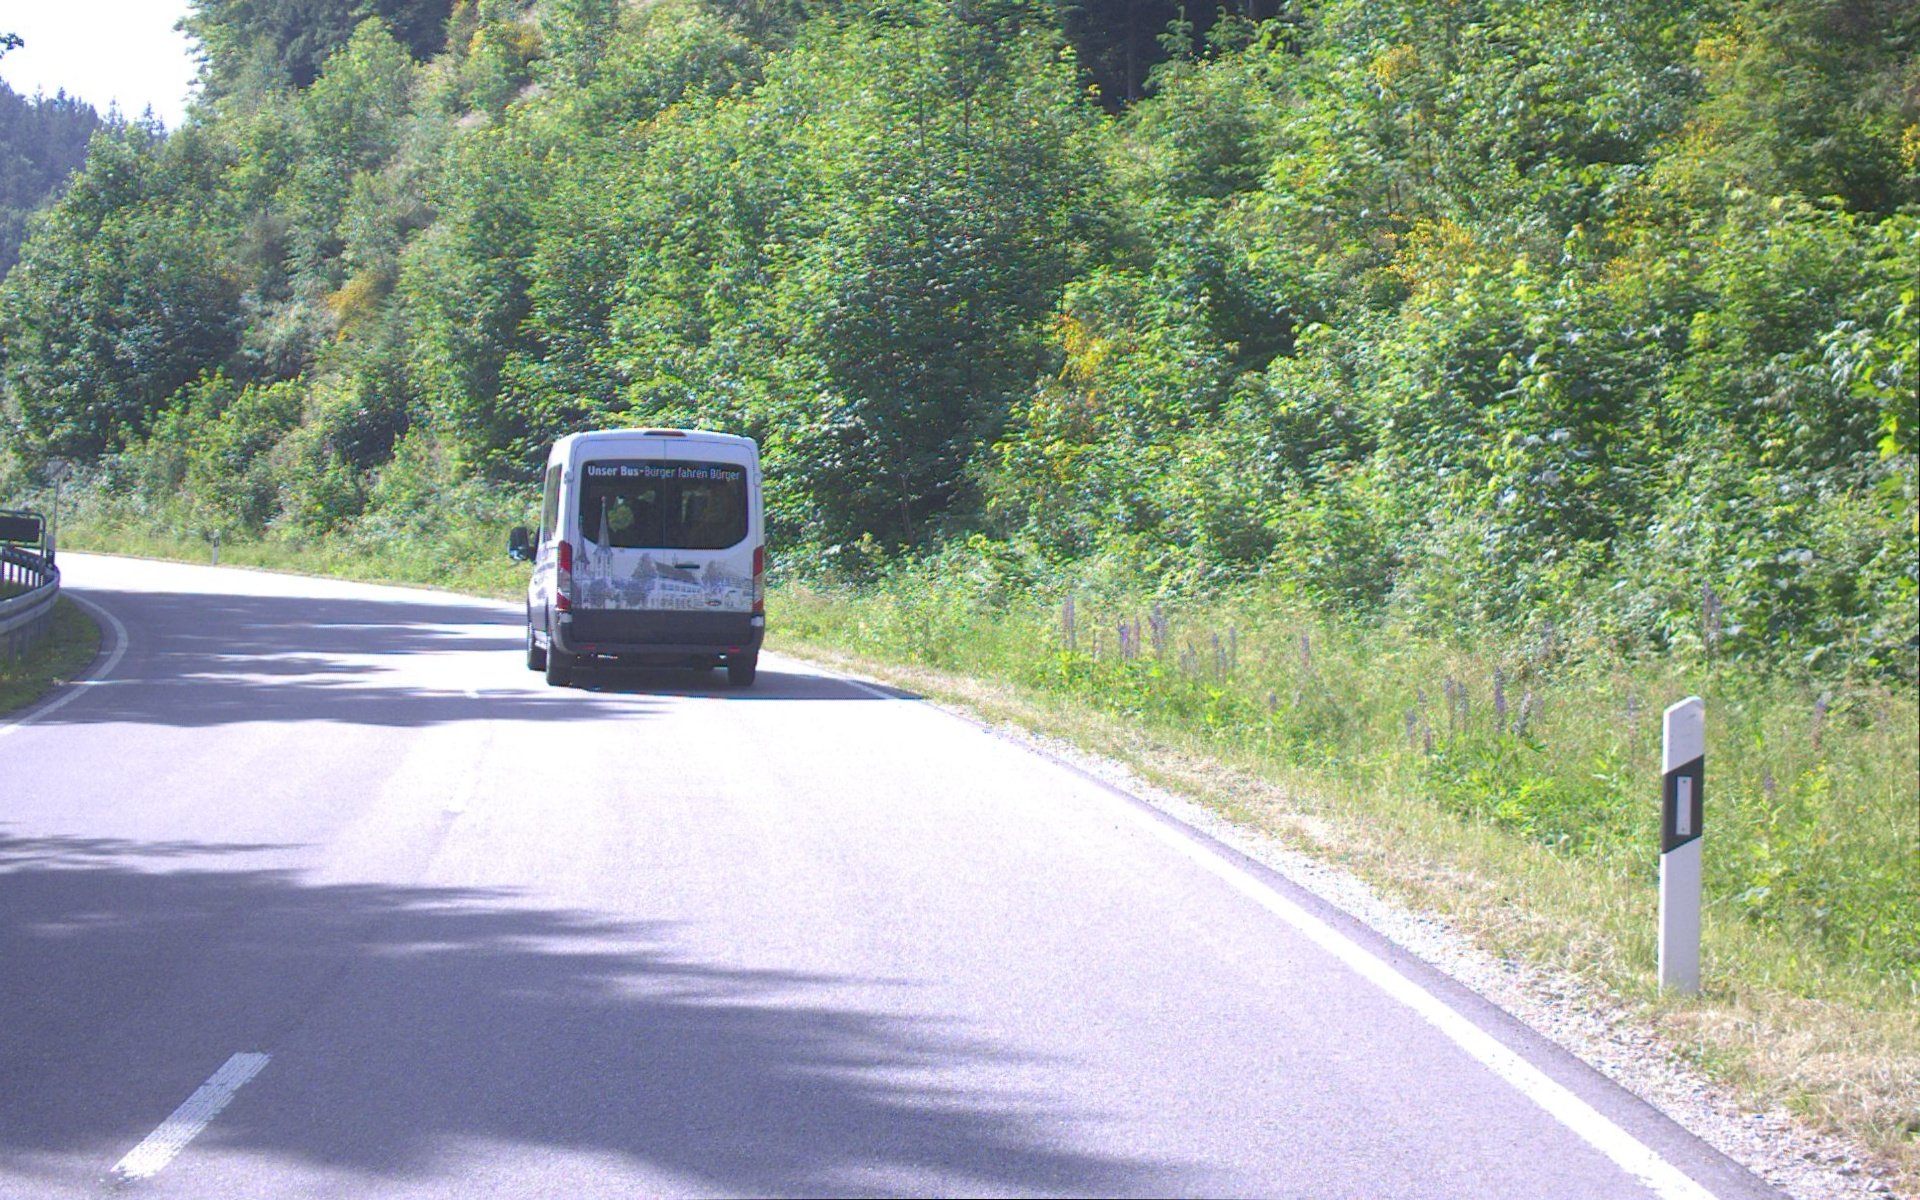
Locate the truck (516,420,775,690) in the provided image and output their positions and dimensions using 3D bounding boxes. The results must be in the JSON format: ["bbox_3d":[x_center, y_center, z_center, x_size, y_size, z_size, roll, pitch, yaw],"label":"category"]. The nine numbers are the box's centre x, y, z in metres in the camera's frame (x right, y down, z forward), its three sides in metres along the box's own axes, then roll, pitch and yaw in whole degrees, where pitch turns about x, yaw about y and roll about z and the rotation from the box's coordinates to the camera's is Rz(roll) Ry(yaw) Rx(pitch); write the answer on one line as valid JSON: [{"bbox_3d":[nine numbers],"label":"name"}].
[{"bbox_3d":[-3.251,-0.492,34.536,2.115,2.489,5.361,0,2,-10],"label":"truck"}]
